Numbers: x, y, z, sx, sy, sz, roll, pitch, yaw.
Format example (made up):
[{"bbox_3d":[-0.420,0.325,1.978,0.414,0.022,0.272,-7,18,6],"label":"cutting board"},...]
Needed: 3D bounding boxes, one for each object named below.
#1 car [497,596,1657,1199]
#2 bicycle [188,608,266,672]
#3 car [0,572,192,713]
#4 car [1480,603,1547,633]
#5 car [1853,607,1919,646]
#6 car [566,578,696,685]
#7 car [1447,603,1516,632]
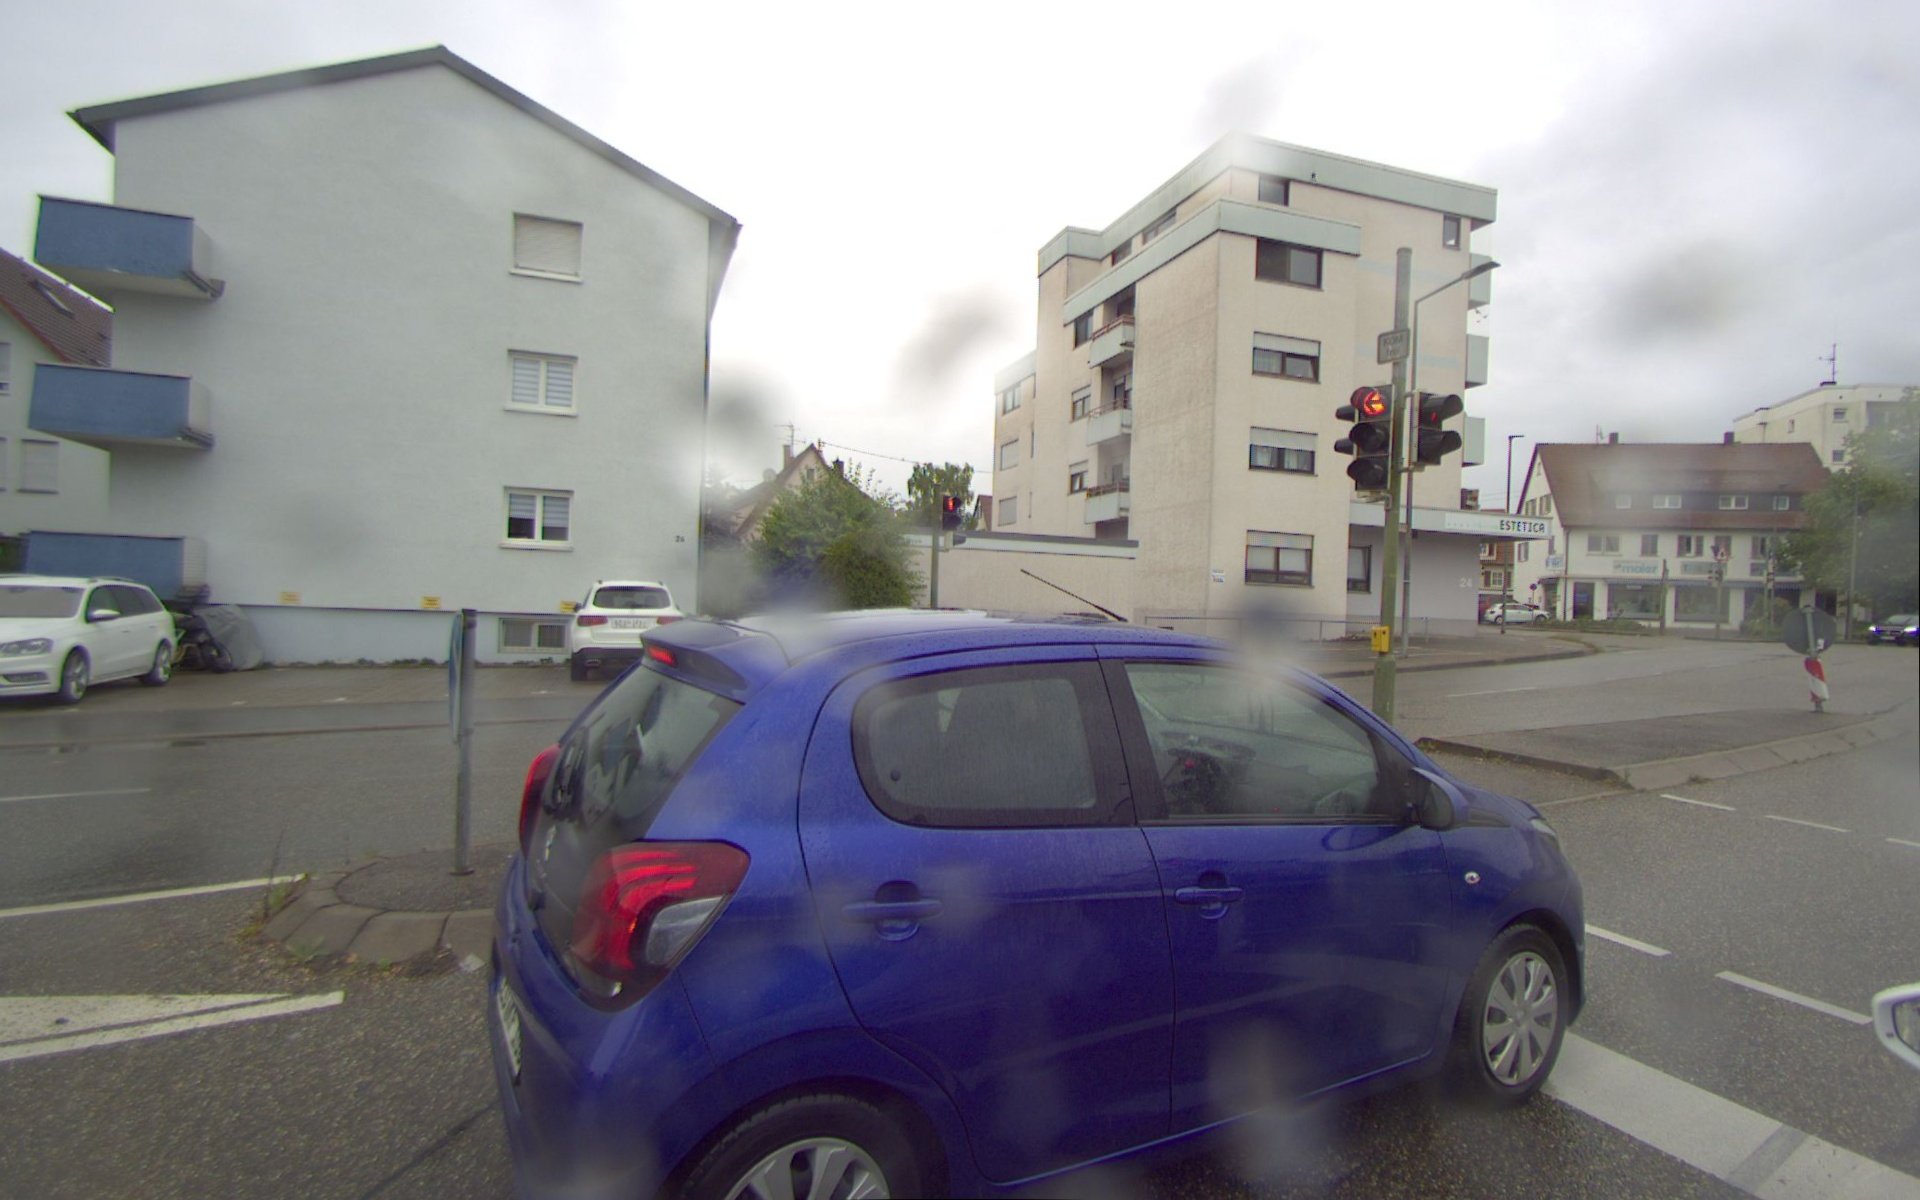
[{"bbox_3d":[0.468,0.738,3.101,3.324,1.432,1.498,1,1,-30],"label":"car"},{"bbox_3d":[-12.694,0.681,17.422,1.053,1.067,0.345,0,1,-30],"label":"bicycle"},{"bbox_3d":[-11.481,0.450,12.507,1.854,1.480,4.732,1,-1,-23],"label":"car"},{"bbox_3d":[37.925,1.232,68.893,3.611,1.946,1.889,2,0,14],"label":"car"},{"bbox_3d":[41.965,1.199,44.798,4.488,1.646,1.983,2,0,-32],"label":"car"},{"bbox_3d":[-5.763,0.504,17.576,1.884,1.637,3.982,2,0,-19],"label":"car"},{"bbox_3d":[37.218,1.236,71.724,3.987,1.868,1.889,2,0,14],"label":"car"}]
